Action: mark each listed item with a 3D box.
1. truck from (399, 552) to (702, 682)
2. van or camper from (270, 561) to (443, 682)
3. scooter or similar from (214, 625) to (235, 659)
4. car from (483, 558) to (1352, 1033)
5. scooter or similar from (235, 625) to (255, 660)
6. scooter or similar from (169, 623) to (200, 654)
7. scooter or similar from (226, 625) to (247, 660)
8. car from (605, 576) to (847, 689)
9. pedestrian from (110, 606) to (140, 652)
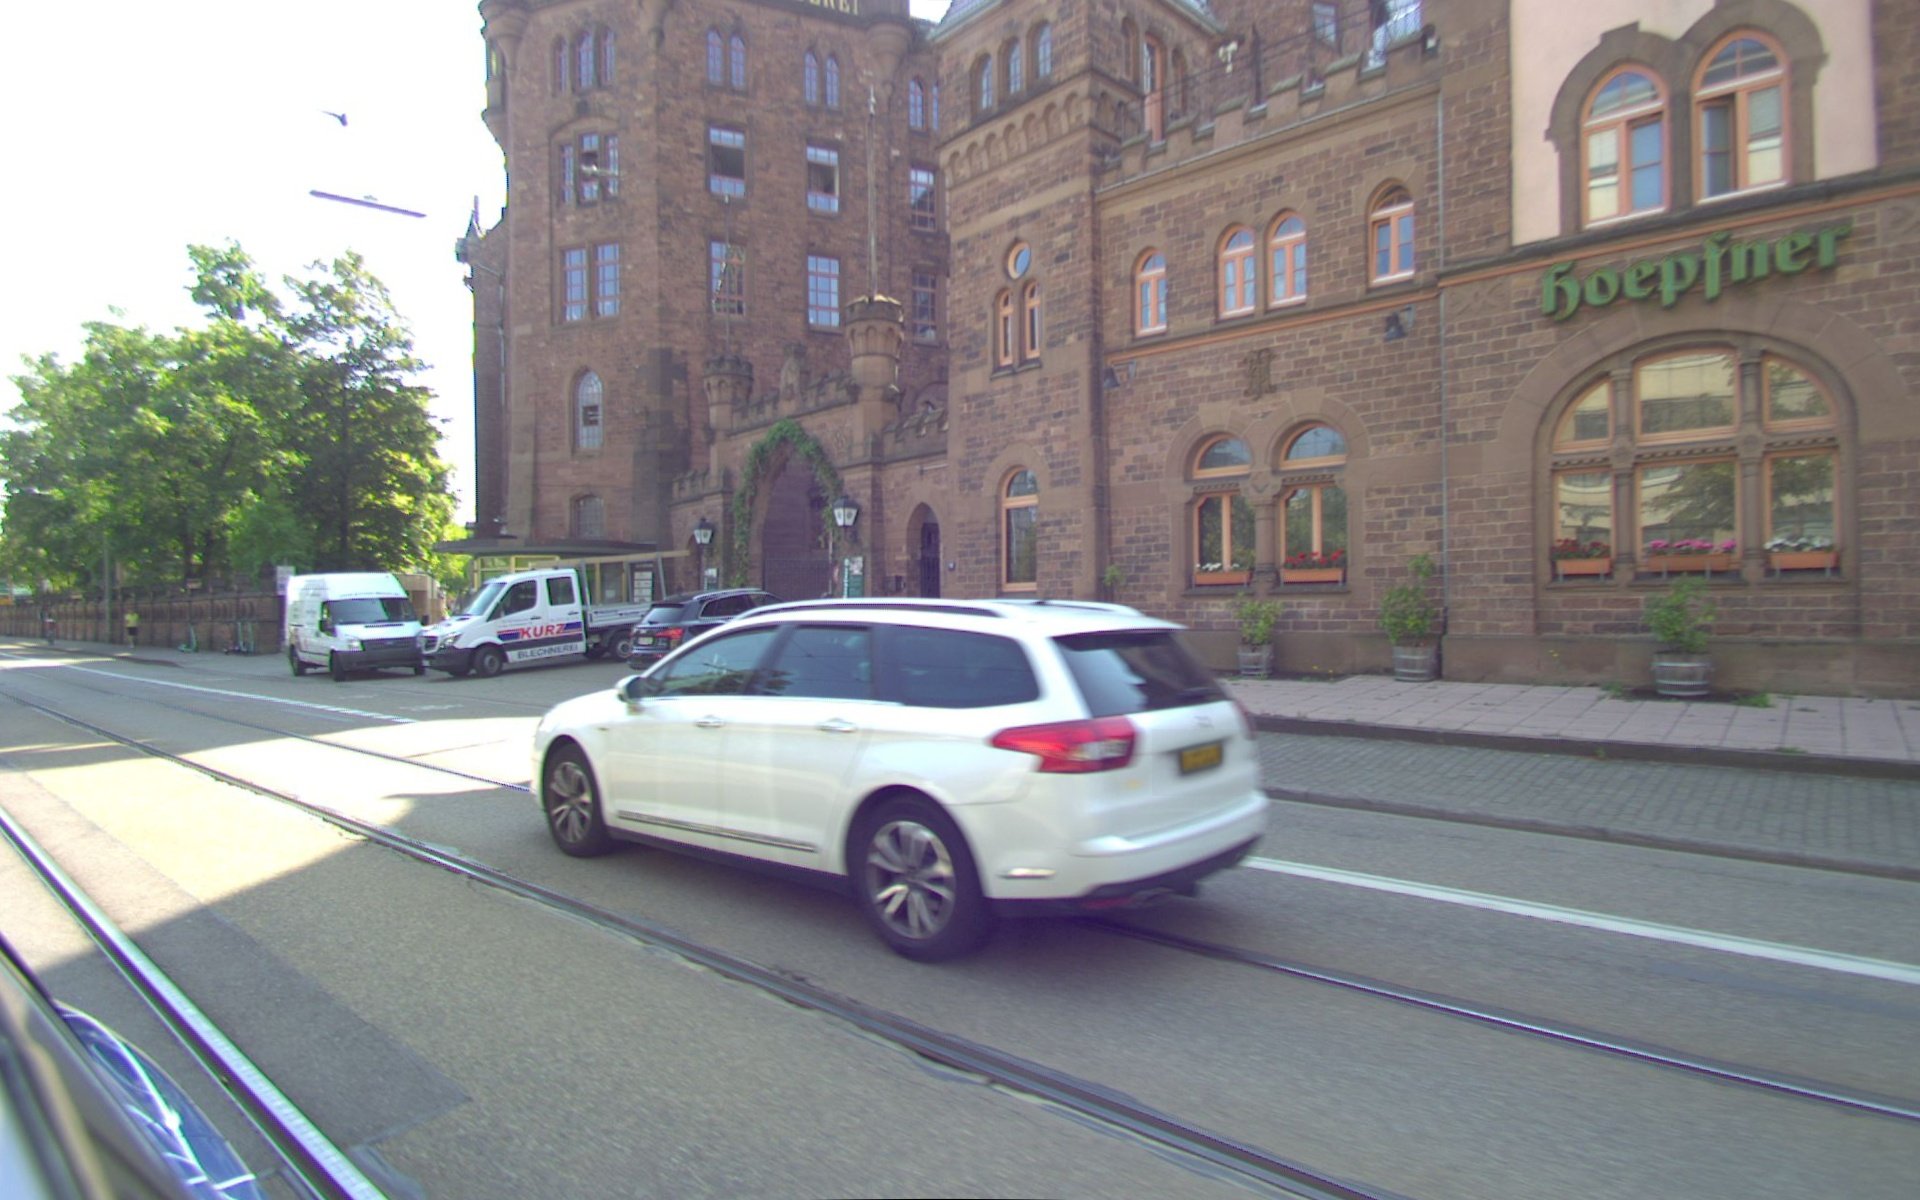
[{"bbox_3d":[-9.614,0.290,24.278,6.248,2.557,2.132,-5,1,-44],"label":"truck"},{"bbox_3d":[-15.173,0.514,25.257,5.954,2.695,2.090,-1,0,43],"label":"van or camper"},{"bbox_3d":[-26.461,1.499,36.418,0.334,1.187,1.182,-1,0,-24],"label":"scooter or similar"},{"bbox_3d":[-0.631,0.697,5.544,4.866,1.503,1.827,-1,-3,42],"label":"car"},{"bbox_3d":[-24.687,1.455,34.946,0.334,1.187,1.182,-1,0,-24],"label":"scooter or similar"},{"bbox_3d":[-29.899,1.494,39.018,1.309,1.187,0.418,-1,0,26],"label":"scooter or similar"},{"bbox_3d":[-25.526,1.476,35.708,0.334,1.187,1.182,-1,0,-24],"label":"scooter or similar"},{"bbox_3d":[-4.430,0.544,19.599,1.999,1.756,4.093,-2,3,42],"label":"car"},{"bbox_3d":[-37.725,1.294,45.738,0.982,2.029,0.855,-2,0,39],"label":"pedestrian"}]
